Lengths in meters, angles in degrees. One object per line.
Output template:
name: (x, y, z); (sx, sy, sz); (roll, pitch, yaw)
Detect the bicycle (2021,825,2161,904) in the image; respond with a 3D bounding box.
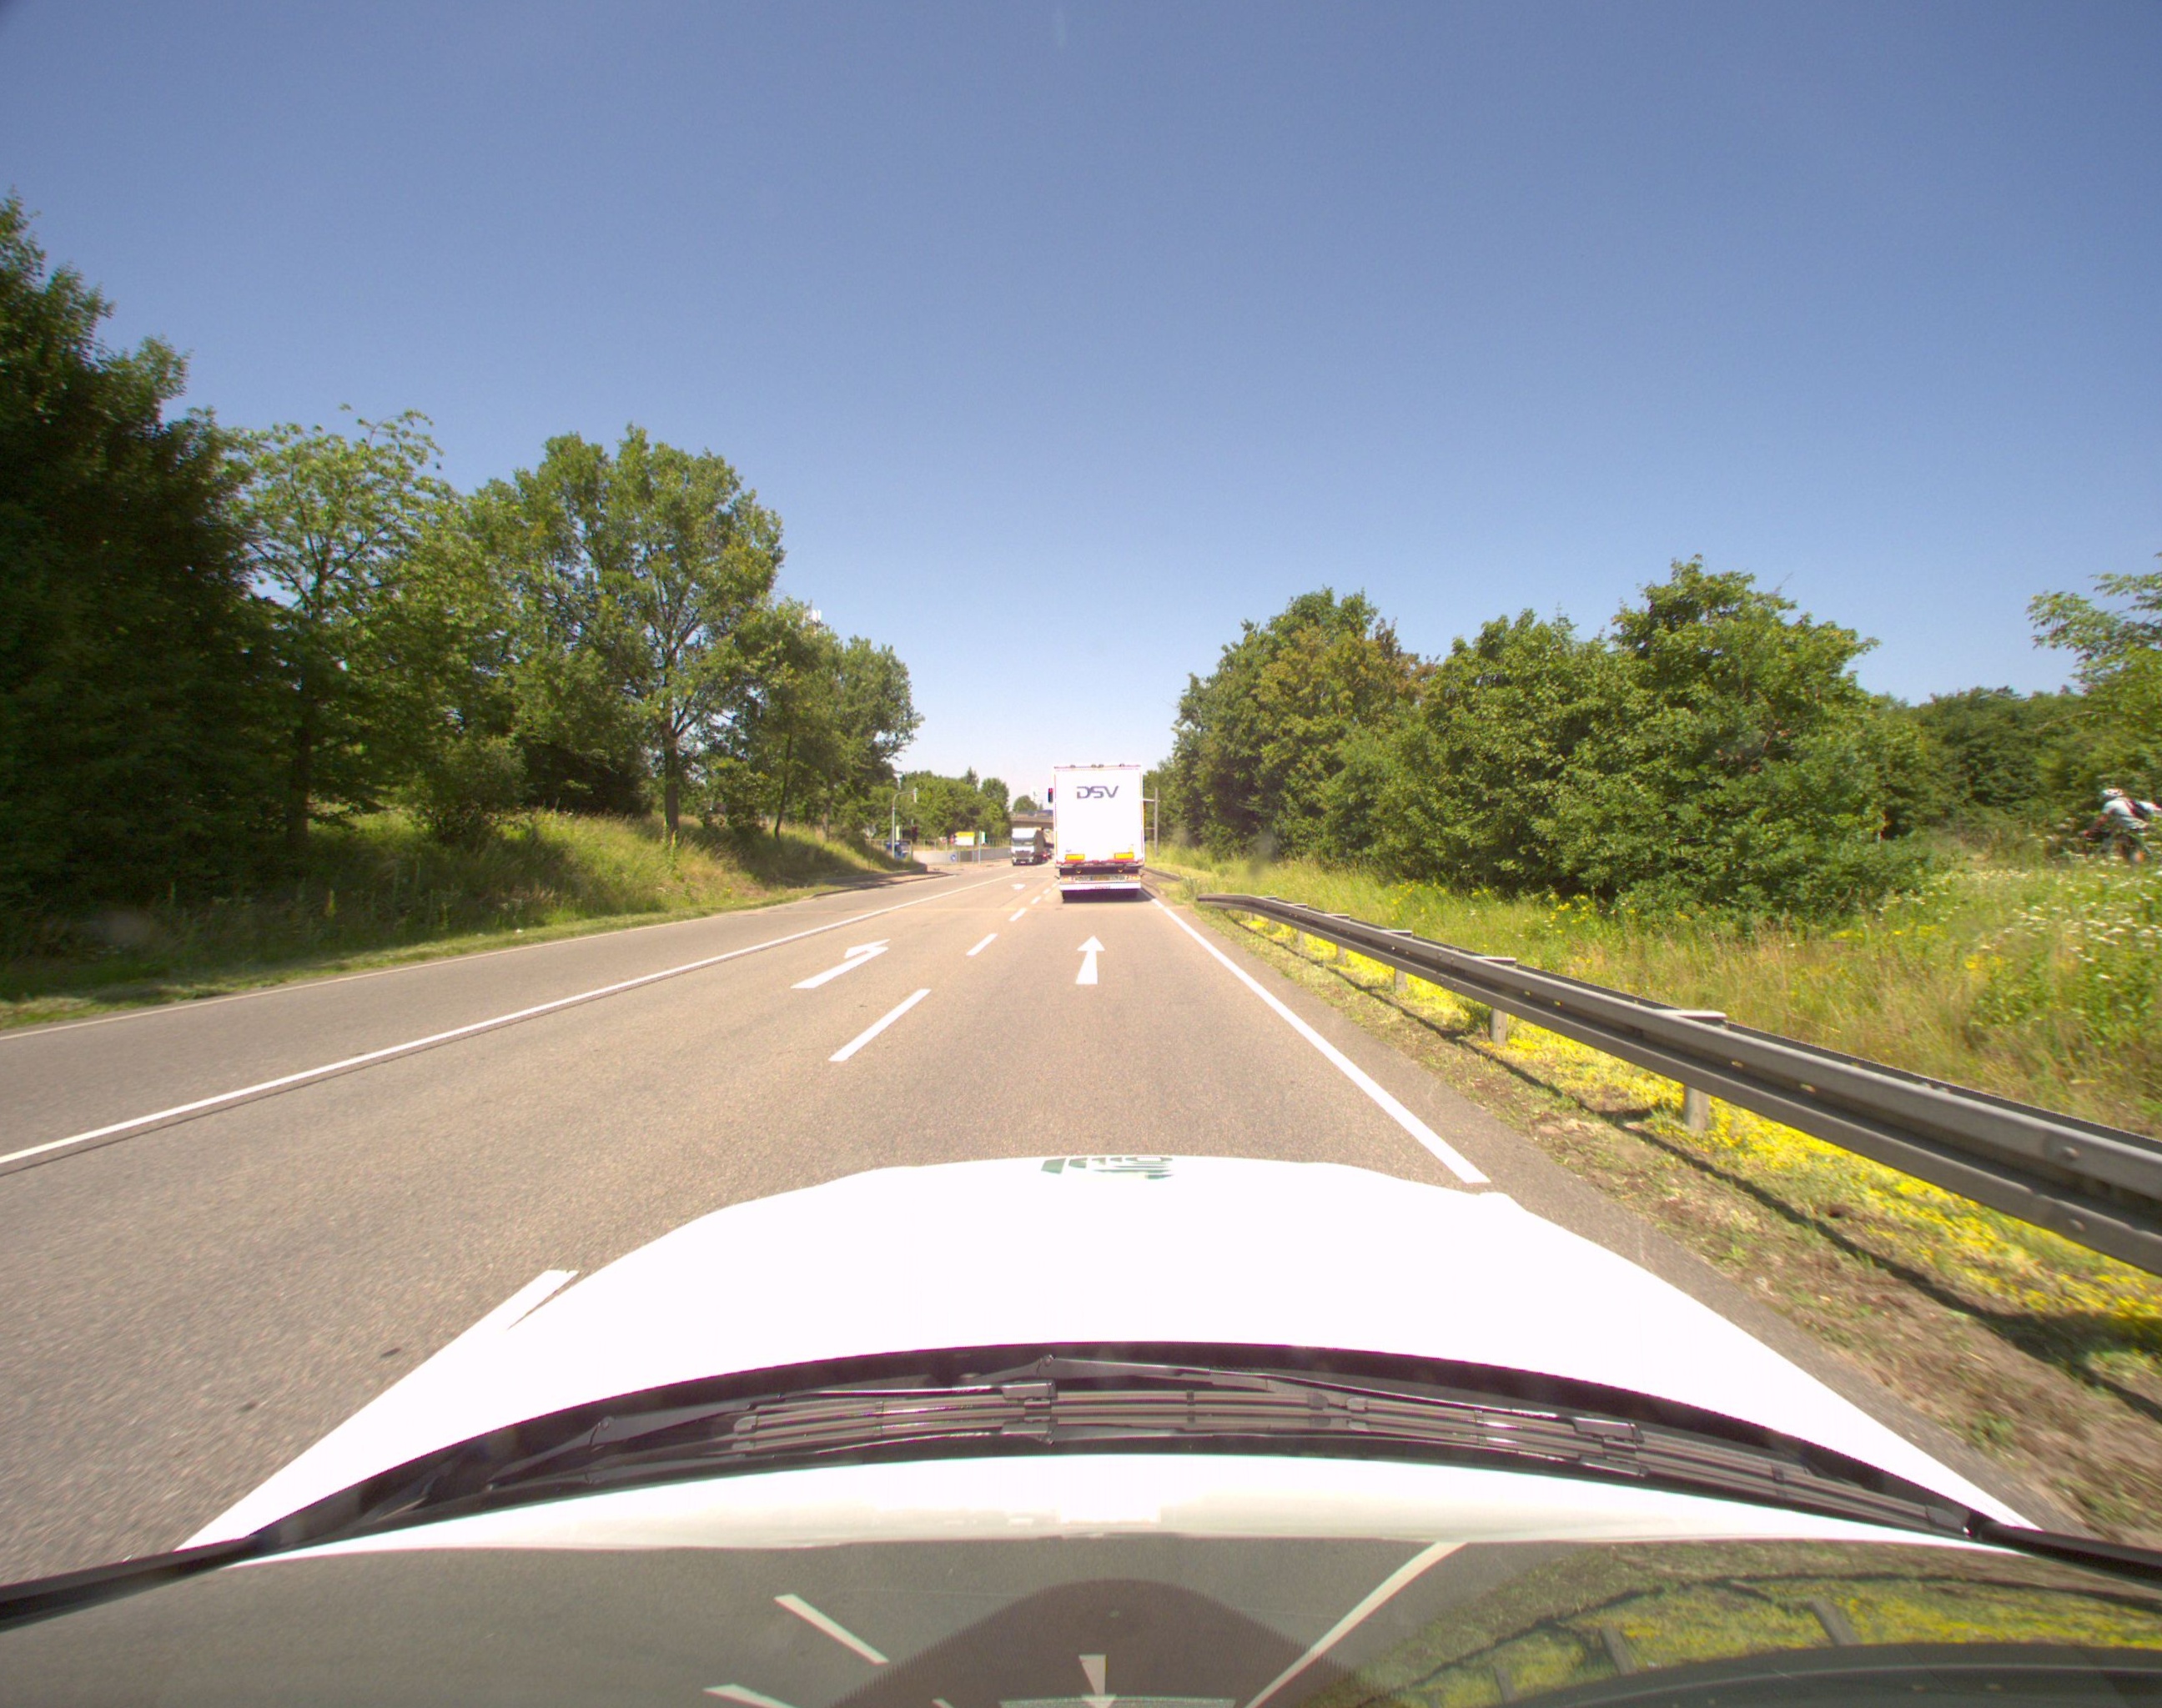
bicycle: (18.529, 0.173, 14.405); (0.835, 1.340, 2.354); (-1, 1, -17)

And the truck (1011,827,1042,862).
truck: (-6.121, -1.091, 92.773); (2.345, 3.749, 12.628); (-1, 1, 1)

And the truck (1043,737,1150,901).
truck: (0.466, -1.005, 27.895); (2.940, 4.568, 9.861); (-1, 0, 0)

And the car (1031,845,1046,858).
car: (-5.735, -0.365, 110.262); (1.741, 1.626, 3.704); (-1, 1, 1)

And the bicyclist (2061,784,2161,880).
bicyclist: (18.442, -0.383, 14.469); (0.830, 1.629, 1.105); (-1, 0, -19)

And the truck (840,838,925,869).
truck: (-16.649, -0.026, 68.460); (6.366, 2.499, 2.724); (0, 0, 13)
